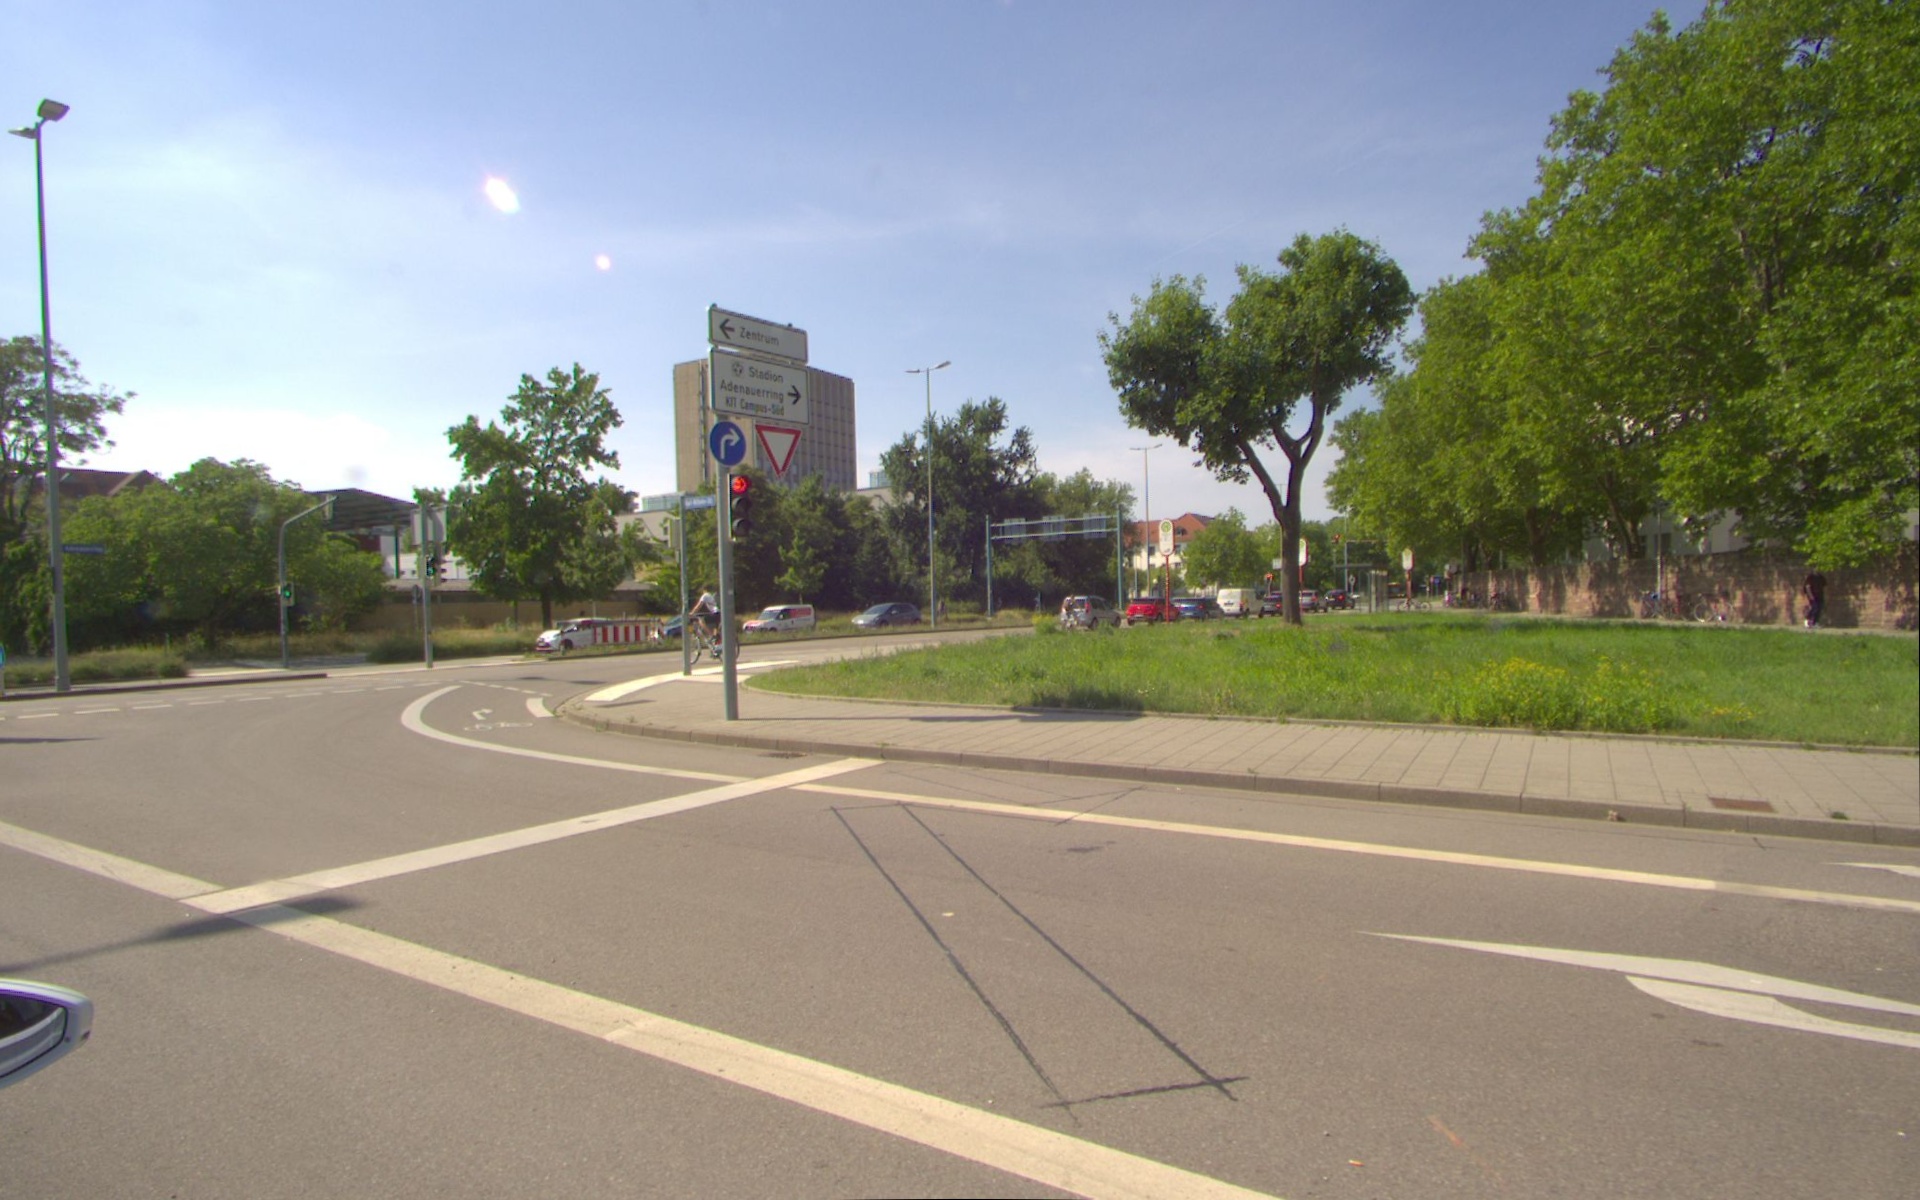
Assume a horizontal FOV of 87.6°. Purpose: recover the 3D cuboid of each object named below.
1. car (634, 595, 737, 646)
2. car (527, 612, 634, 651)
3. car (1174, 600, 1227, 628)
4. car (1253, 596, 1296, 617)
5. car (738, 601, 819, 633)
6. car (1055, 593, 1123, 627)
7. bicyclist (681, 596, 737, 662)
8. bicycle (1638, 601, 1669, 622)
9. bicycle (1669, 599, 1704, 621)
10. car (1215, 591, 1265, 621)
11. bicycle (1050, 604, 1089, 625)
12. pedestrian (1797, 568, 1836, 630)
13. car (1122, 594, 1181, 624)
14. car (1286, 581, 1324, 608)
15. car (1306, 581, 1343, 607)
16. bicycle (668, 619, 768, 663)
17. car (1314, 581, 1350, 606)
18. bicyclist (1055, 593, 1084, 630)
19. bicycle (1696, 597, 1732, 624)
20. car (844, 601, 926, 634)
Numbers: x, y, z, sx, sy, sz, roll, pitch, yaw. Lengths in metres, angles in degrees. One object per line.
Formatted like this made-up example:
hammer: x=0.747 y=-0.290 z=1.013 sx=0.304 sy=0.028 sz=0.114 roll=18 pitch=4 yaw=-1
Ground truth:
car: x=-12.201 y=0.889 z=44.691 sx=1.976 sy=2.040 sz=3.971 roll=-3 pitch=-1 yaw=37
car: x=-16.617 y=1.362 z=43.987 sx=1.972 sy=1.483 sz=3.978 roll=-2 pitch=0 yaw=32
car: x=14.384 y=0.824 z=59.804 sx=1.729 sy=1.493 sz=3.973 roll=-1 pitch=1 yaw=36
car: x=22.279 y=0.463 z=70.905 sx=1.729 sy=1.357 sz=3.973 roll=-1 pitch=1 yaw=36
car: x=-9.716 y=0.908 z=53.906 sx=1.883 sy=1.590 sz=4.300 roll=-1 pitch=1 yaw=32
car: x=6.268 y=0.474 z=48.253 sx=1.727 sy=1.528 sz=3.978 roll=-1 pitch=1 yaw=32
bicyclist: x=-5.776 y=0.678 z=23.039 sx=1.121 sy=1.489 sz=0.496 roll=-1 pitch=-1 yaw=10
bicycle: x=25.590 y=0.407 z=36.966 sx=0.334 sy=0.738 sz=1.364 roll=-1 pitch=1 yaw=5
bicycle: x=25.595 y=0.338 z=35.282 sx=0.334 sy=0.738 sz=1.364 roll=-1 pitch=1 yaw=5
car: x=18.250 y=0.382 z=65.176 sx=1.729 sy=1.781 sz=4.402 roll=-1 pitch=1 yaw=36
bicycle: x=4.517 y=0.583 z=41.232 sx=0.554 sy=0.803 sz=1.878 roll=1 pitch=2 yaw=44
pedestrian: x=24.737 y=-0.034 z=28.938 sx=0.608 sy=1.763 sz=0.599 roll=-1 pitch=1 yaw=3
car: x=10.305 y=0.458 z=53.694 sx=1.727 sy=1.528 sz=3.978 roll=-1 pitch=1 yaw=32
car: x=27.101 y=-0.422 z=78.617 sx=1.972 sy=2.040 sz=3.977 roll=-1 pitch=1 yaw=32
car: x=30.179 y=-0.538 z=82.945 sx=1.973 sy=2.040 sz=3.976 roll=-1 pitch=1 yaw=34
bicycle: x=-5.559 y=0.940 z=23.038 sx=2.128 sy=0.928 sz=0.674 roll=-1 pitch=1 yaw=11
car: x=31.807 y=-0.565 z=85.502 sx=1.973 sy=2.040 sz=3.976 roll=-1 pitch=1 yaw=34
bicyclist: x=4.508 y=0.461 z=41.215 sx=0.558 sy=1.494 sz=1.158 roll=0 pitch=1 yaw=44
bicycle: x=25.524 y=0.341 z=33.892 sx=0.365 sy=0.867 sz=1.307 roll=-1 pitch=1 yaw=7
car: x=-3.605 y=0.820 z=48.705 sx=1.619 sy=1.424 sz=4.080 roll=-3 pitch=-1 yaw=37
